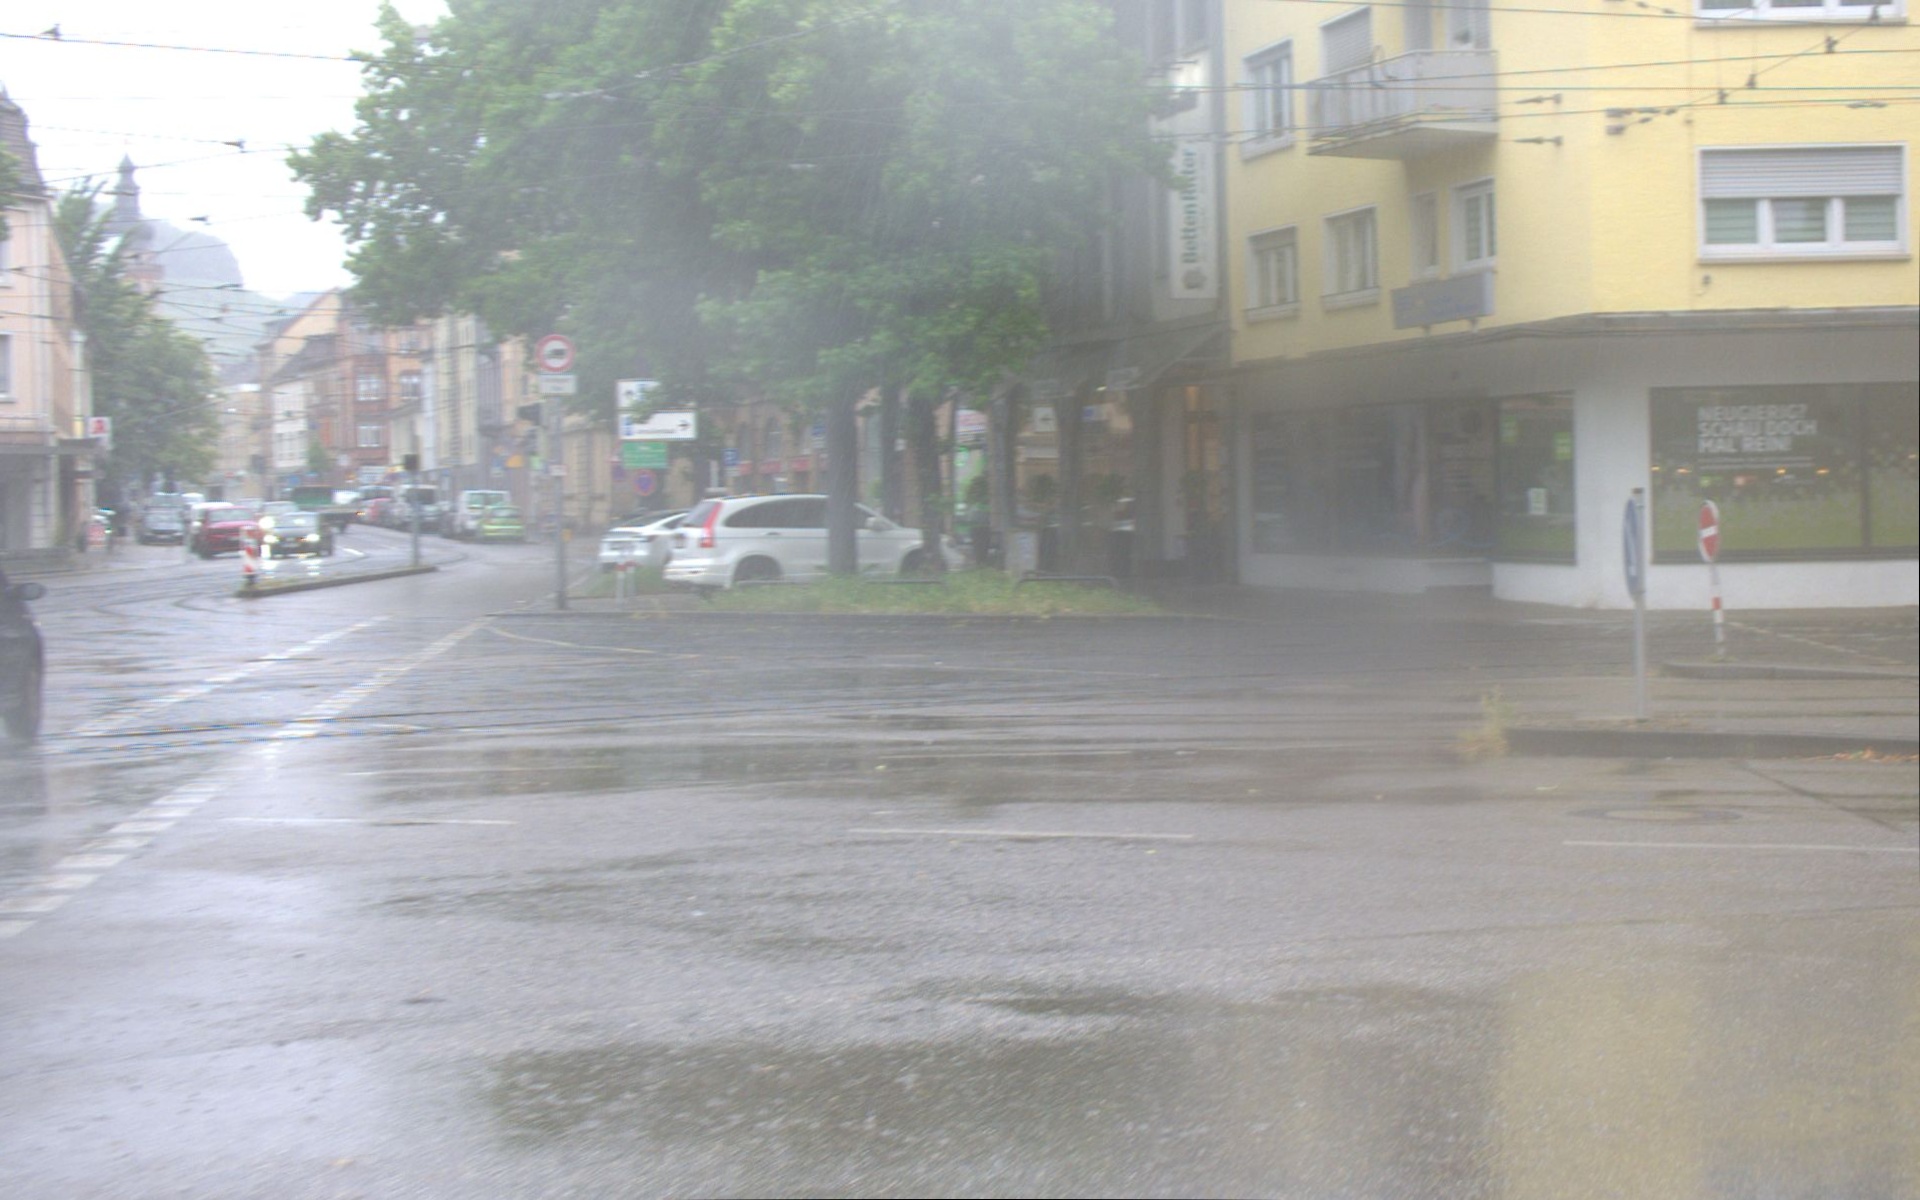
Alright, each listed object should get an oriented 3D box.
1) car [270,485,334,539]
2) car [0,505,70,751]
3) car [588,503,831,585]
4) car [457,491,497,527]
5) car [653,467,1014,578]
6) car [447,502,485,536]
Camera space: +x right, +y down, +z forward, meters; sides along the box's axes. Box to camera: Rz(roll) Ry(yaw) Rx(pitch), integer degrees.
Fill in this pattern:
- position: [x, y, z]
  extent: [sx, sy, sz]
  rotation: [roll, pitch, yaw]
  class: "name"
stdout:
- position: [-21.402, -2.840, 111.754]
  extent: [1.993, 1.683, 4.001]
  rotation: [1, 0, -11]
  class: "car"
- position: [-6.695, 0.182, 21.058]
  extent: [1.882, 1.454, 3.832]
  rotation: [0, -1, -6]
  class: "car"
- position: [-5.145, -1.161, 70.834]
  extent: [4.582, 1.551, 1.999]
  rotation: [-1, 2, 13]
  class: "car"
- position: [-19.182, -3.591, 136.465]
  extent: [1.475, 1.358, 3.463]
  rotation: [1, 0, -10]
  class: "car"
- position: [-1.893, -1.183, 51.164]
  extent: [4.972, 1.469, 2.001]
  rotation: [-2, 2, -18]
  class: "car"
- position: [-20.524, -3.353, 142.850]
  extent: [1.475, 1.358, 3.463]
  rotation: [1, 0, -10]
  class: "car"
